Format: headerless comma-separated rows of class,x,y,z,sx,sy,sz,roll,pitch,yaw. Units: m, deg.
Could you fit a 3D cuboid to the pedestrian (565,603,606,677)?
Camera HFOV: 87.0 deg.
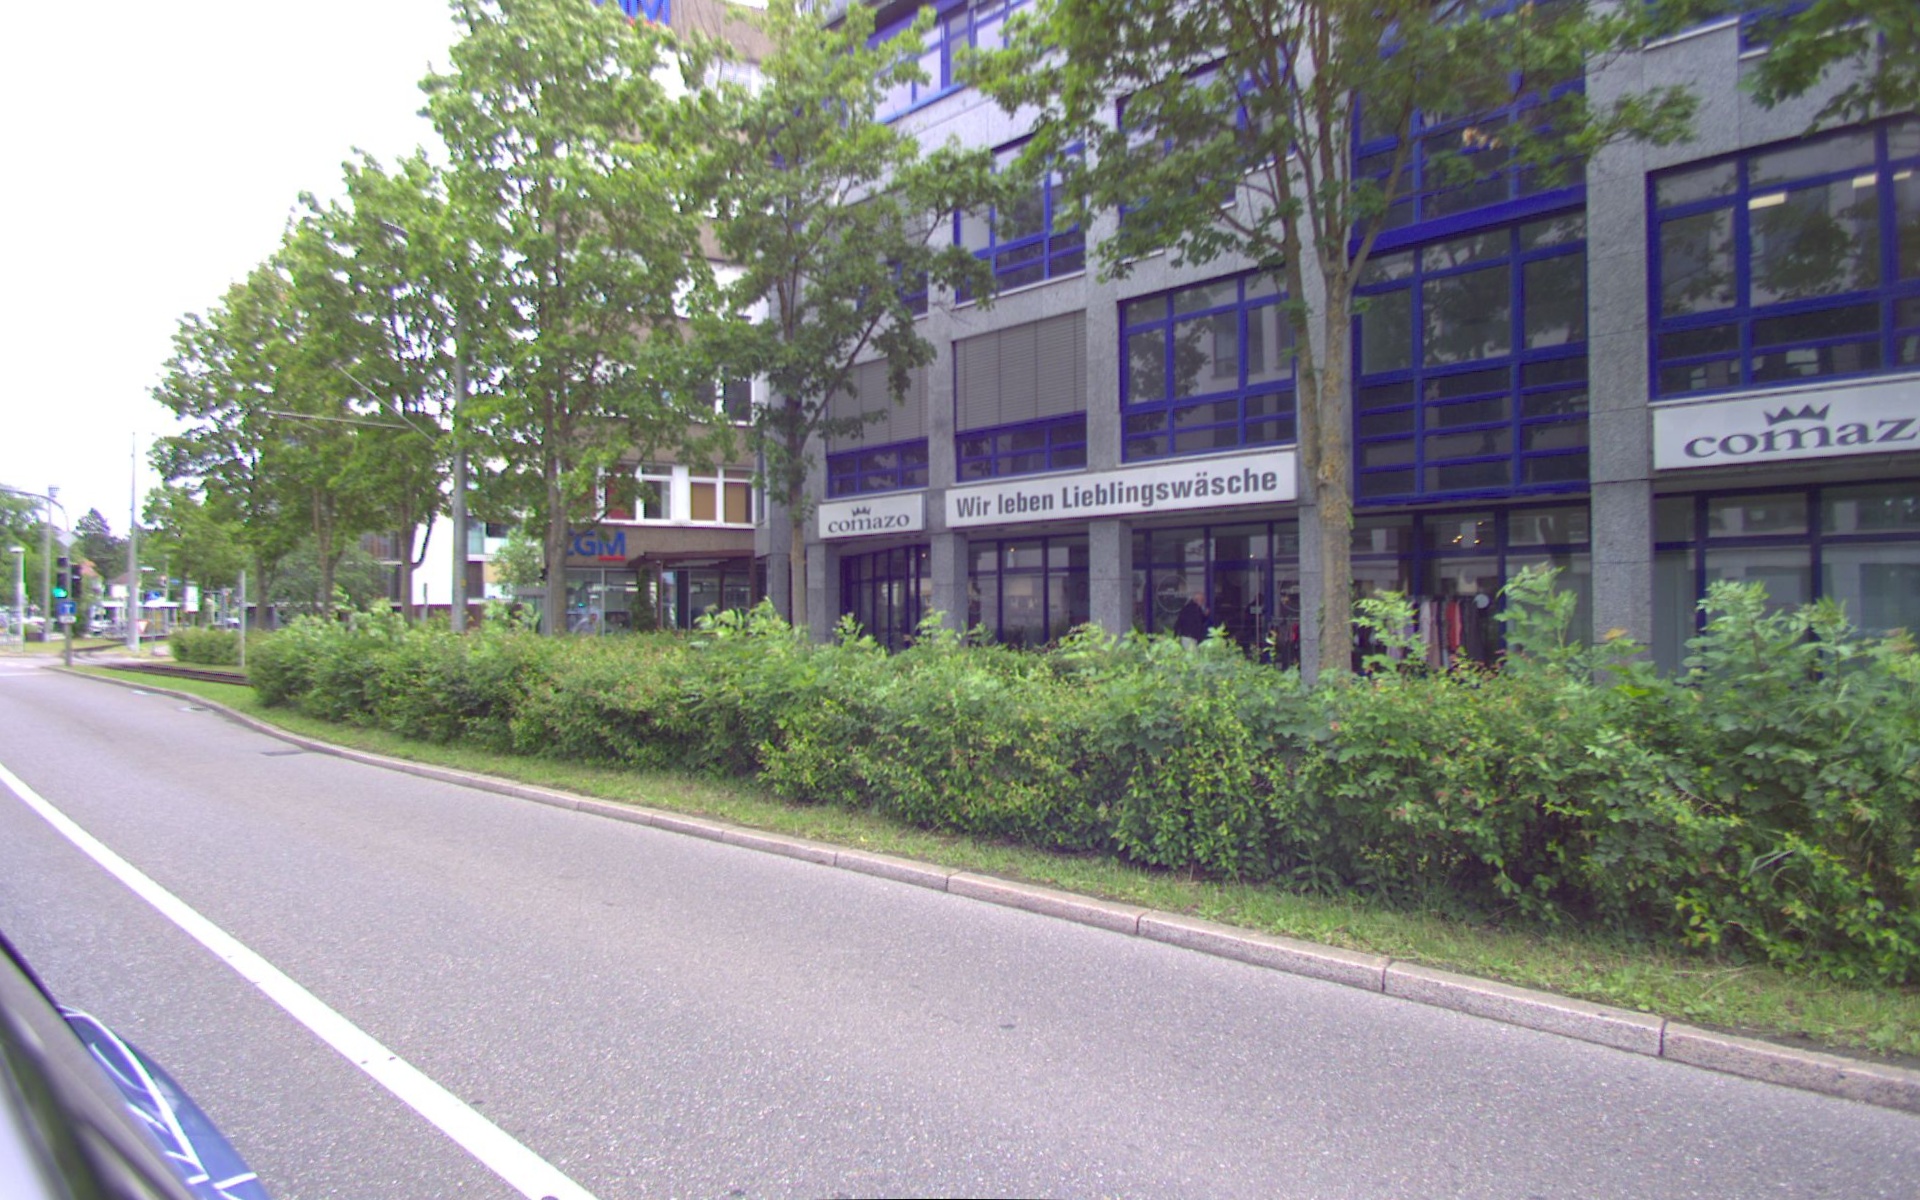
pedestrian,-9.501,0.998,25.667,0.730,1.819,0.672,-1,0,37

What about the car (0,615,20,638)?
car,-89.817,2.457,94.426,1.965,2.029,4.013,0,0,-25

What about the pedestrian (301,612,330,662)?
pedestrian,-25.359,1.429,39.828,0.731,1.938,0.805,-1,0,40

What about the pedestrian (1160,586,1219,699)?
pedestrian,3.988,0.720,17.594,0.731,1.908,0.766,-1,0,40
